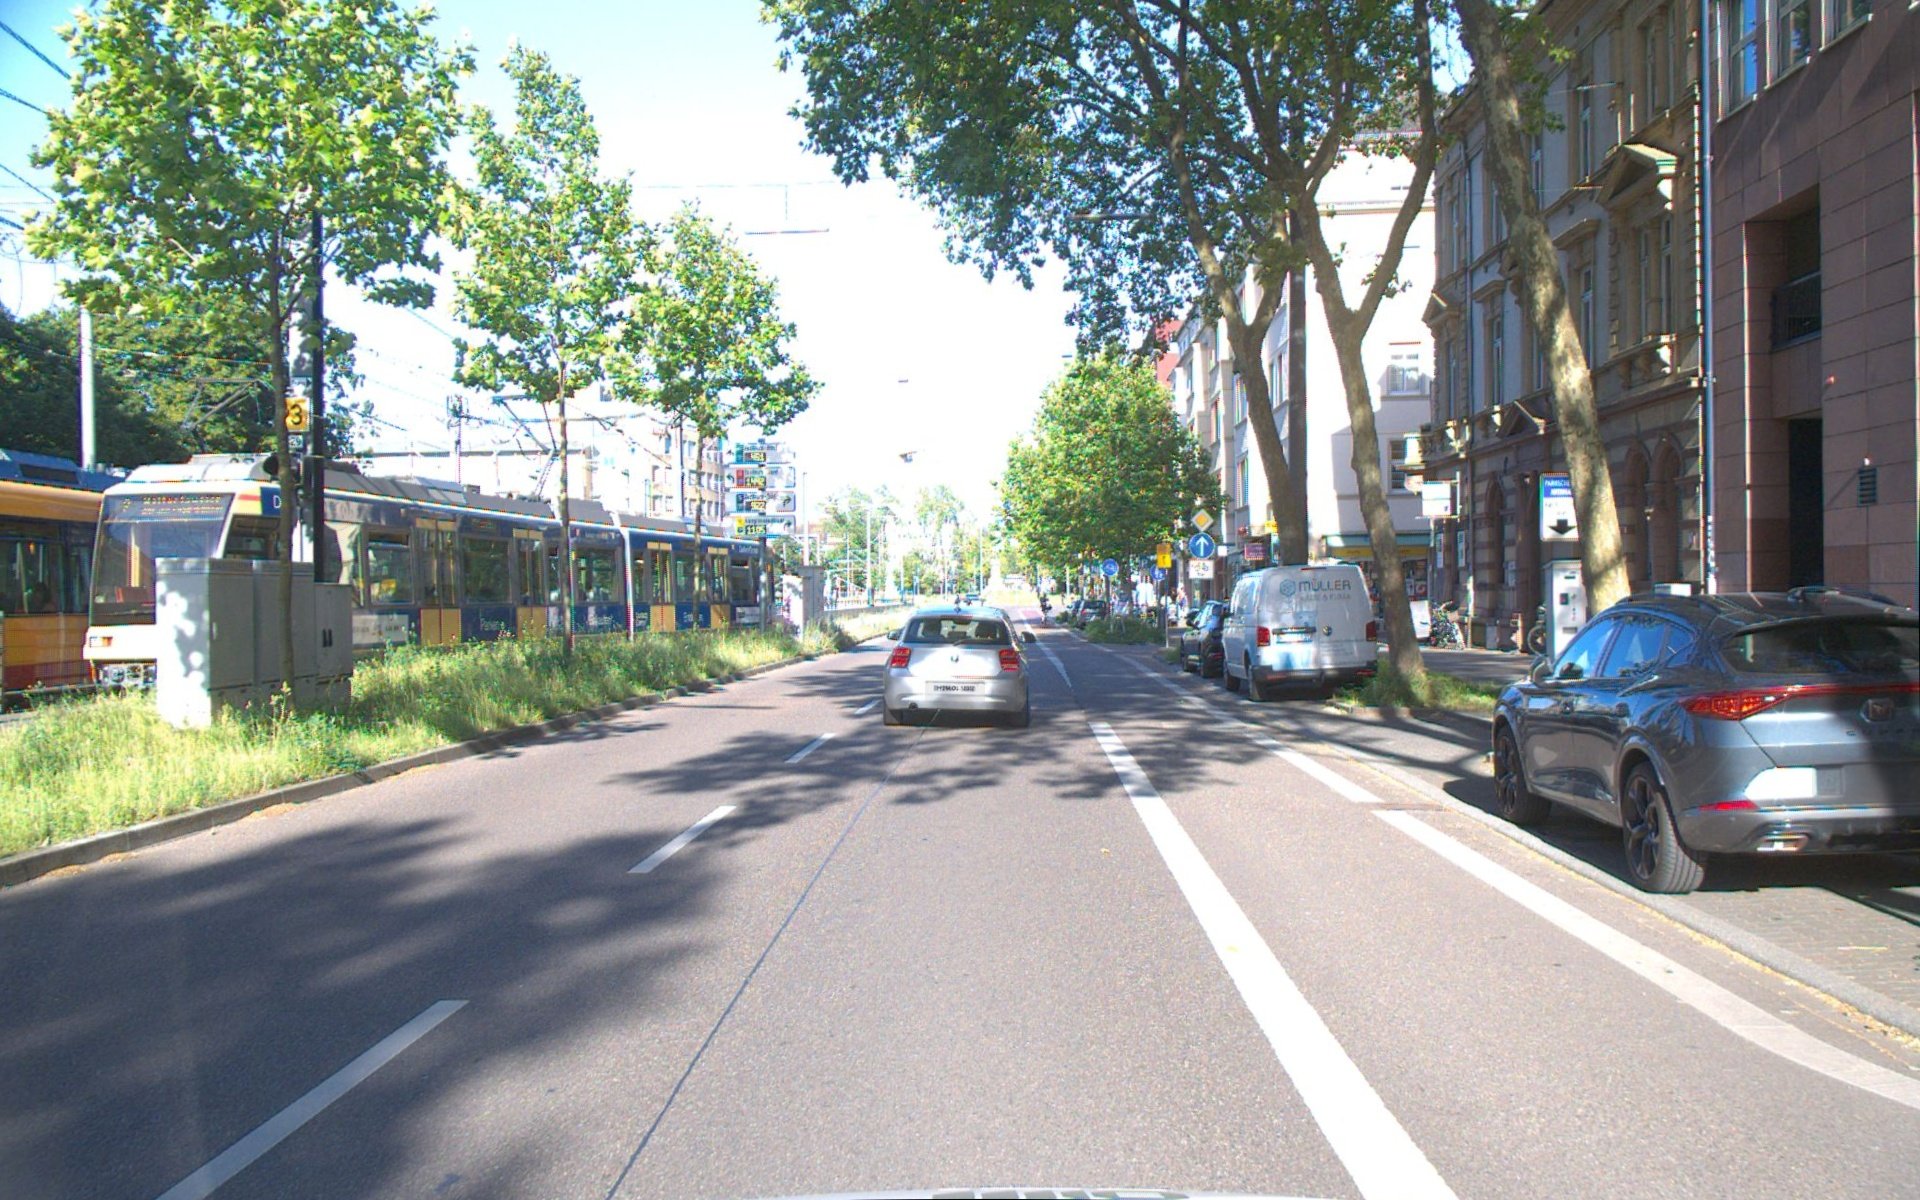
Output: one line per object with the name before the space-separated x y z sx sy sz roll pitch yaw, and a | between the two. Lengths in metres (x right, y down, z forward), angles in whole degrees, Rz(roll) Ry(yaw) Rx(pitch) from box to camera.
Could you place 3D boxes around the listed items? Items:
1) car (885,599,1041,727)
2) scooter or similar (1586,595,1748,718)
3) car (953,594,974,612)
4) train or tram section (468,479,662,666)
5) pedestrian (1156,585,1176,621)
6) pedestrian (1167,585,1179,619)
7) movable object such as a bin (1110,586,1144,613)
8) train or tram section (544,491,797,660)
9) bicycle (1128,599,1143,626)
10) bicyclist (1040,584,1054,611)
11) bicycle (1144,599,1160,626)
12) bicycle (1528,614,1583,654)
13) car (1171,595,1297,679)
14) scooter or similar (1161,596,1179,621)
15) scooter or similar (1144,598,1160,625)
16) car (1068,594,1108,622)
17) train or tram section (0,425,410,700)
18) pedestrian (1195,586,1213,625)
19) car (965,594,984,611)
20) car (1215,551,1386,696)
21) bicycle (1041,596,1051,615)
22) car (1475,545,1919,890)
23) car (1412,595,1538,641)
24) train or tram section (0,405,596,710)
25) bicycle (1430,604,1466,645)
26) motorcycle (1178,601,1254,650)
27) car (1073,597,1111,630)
car | 0.124 0.718 20.910 1.760 1.439 4.001 -1 0 3
scooter or similar | 7.496 0.591 17.562 1.508 1.259 0.449 -1 0 2
car | 0.278 0.238 140.863 1.691 1.496 4.409 0 0 -1
train or tram section | -8.812 -0.594 37.301 2.892 3.965 3.869 1 0 10
pedestrian | 9.938 0.137 79.850 0.841 1.734 0.916 -1 0 -1
pedestrian | 11.239 0.108 87.402 0.546 1.741 0.770 -1 0 2
movable object such as a bin | 12.265 -0.032 121.548 1.907 1.875 3.477 -1 1 -4
train or tram section | -7.399 -0.571 44.490 2.889 3.965 10.812 1 0 11
bicycle | 8.092 0.596 76.440 0.384 1.236 1.902 -2 -1 -2
bicyclist | 5.067 -0.141 96.860 0.769 1.558 0.895 1 0 2
bicycle | 8.951 0.578 77.105 0.377 1.228 1.874 -1 0 18
bicycle | 12.439 0.698 34.585 0.537 0.787 1.663 -2 0 1
car | 5.463 0.696 33.546 1.781 1.541 4.708 1 0 0
scooter or similar | 10.002 0.413 78.791 0.729 1.192 0.849 1 0 -2
scooter or similar | 8.933 0.534 76.941 0.371 1.217 1.575 -1 0 21
car | 7.118 0.435 92.453 1.996 1.535 4.595 0 0 2
train or tram section | -13.809 -0.529 26.415 2.903 3.544 21.218 1 0 0
pedestrian | 10.345 0.238 70.007 0.668 1.650 0.562 0 0 -1
car | 1.299 0.222 148.869 1.610 1.446 4.001 1 0 2
car | 5.244 0.336 26.065 1.818 2.049 4.725 1 0 2
bicycle | 5.030 0.304 96.802 0.489 1.107 1.997 1 0 2
car | 4.476 0.547 9.885 1.633 1.598 4.281 -1 0 3
car | 17.444 0.607 56.147 3.856 1.500 1.667 0 0 5
train or tram section | -10.106 -0.551 28.373 2.866 3.878 14.284 1 0 7
bicycle | 12.394 0.600 42.029 0.406 1.015 1.883 0 0 1
motorcycle | 6.774 0.659 43.815 1.910 1.252 0.515 1 0 -2
car | 6.740 0.677 84.765 1.659 1.528 3.802 -3 0 2
